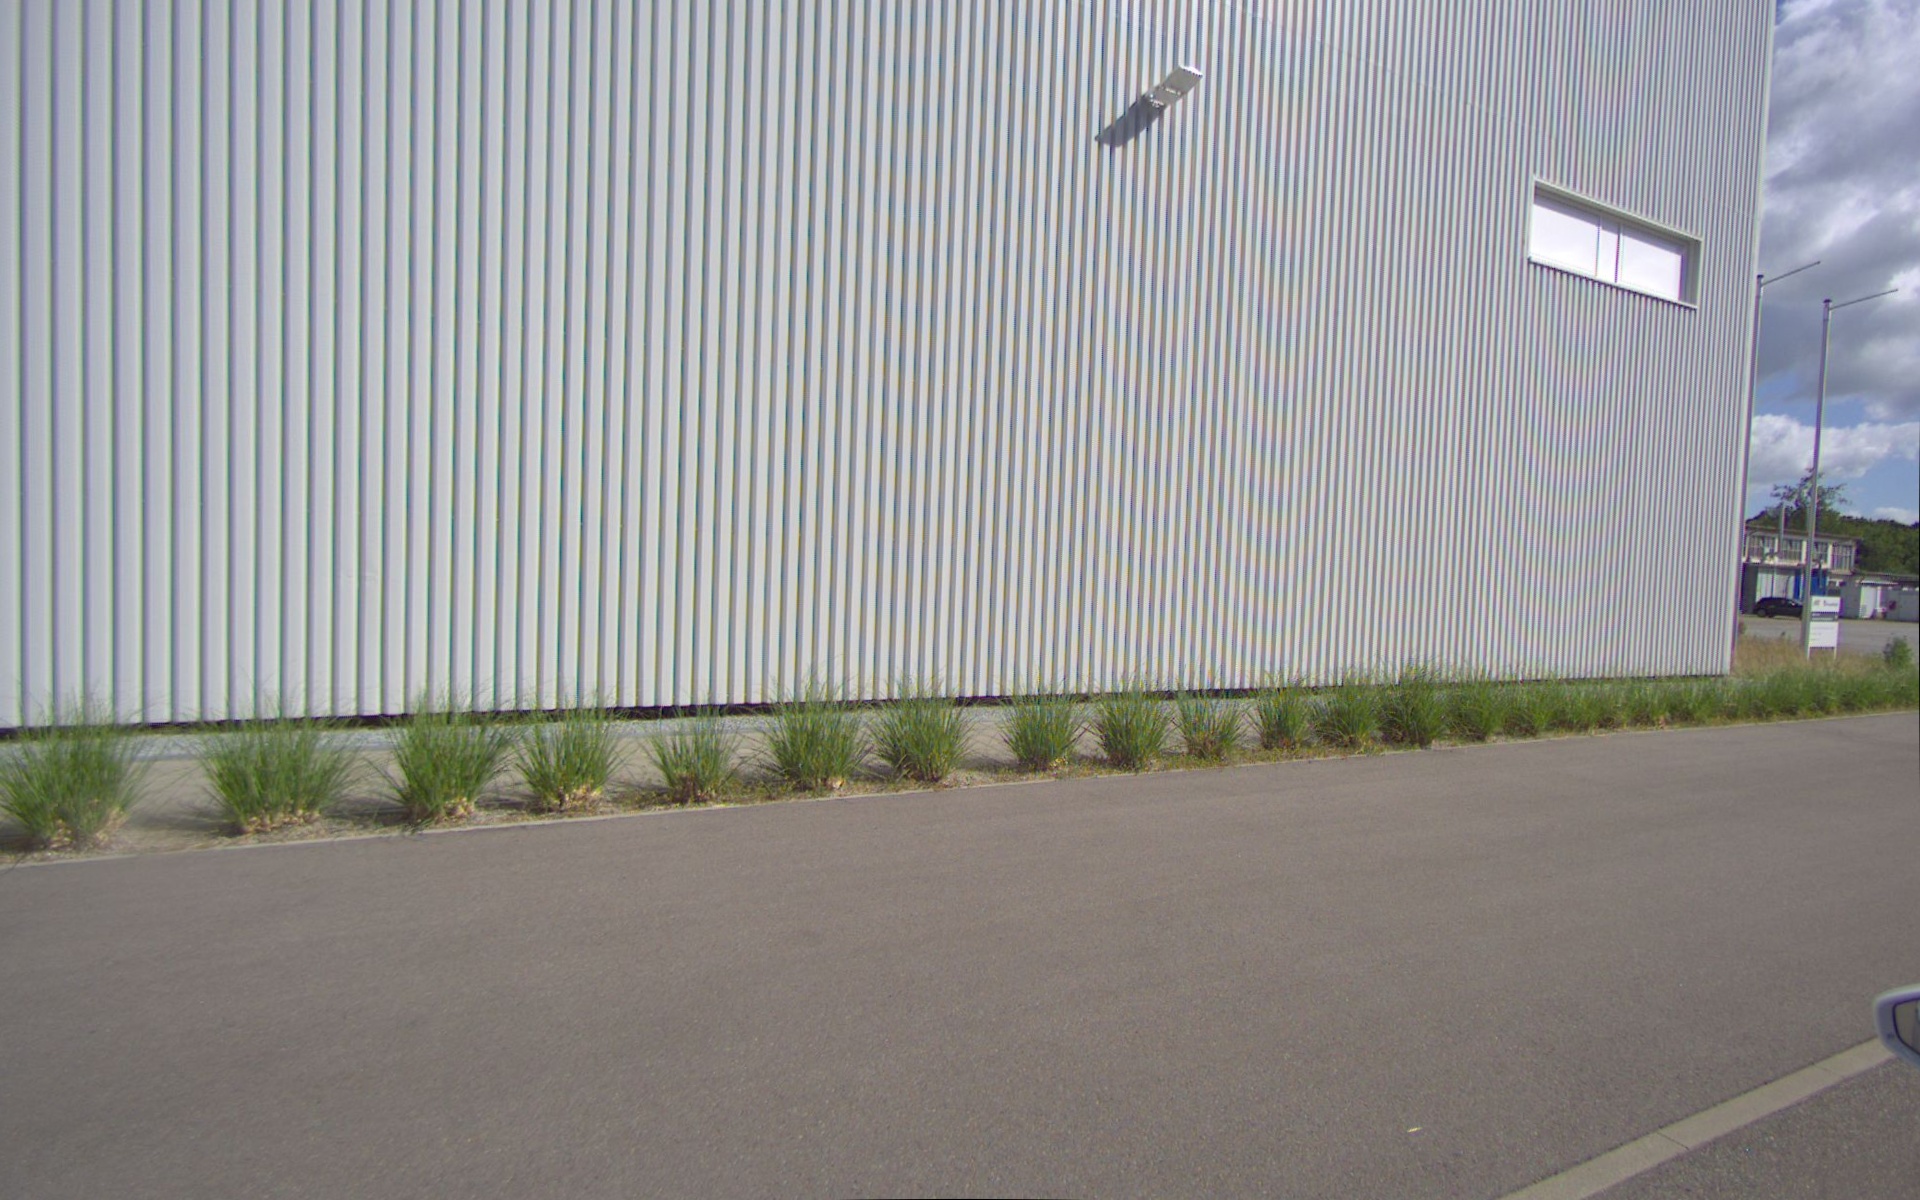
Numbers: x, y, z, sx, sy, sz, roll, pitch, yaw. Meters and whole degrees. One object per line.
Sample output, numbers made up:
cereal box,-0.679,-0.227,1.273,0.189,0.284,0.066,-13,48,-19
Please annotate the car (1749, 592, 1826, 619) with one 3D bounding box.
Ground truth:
car,63.337,0.408,76.956,1.762,1.688,4.142,1,3,-30

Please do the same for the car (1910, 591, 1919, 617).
car,94.189,0.536,95.478,2.021,2.475,5.243,1,2,-24
